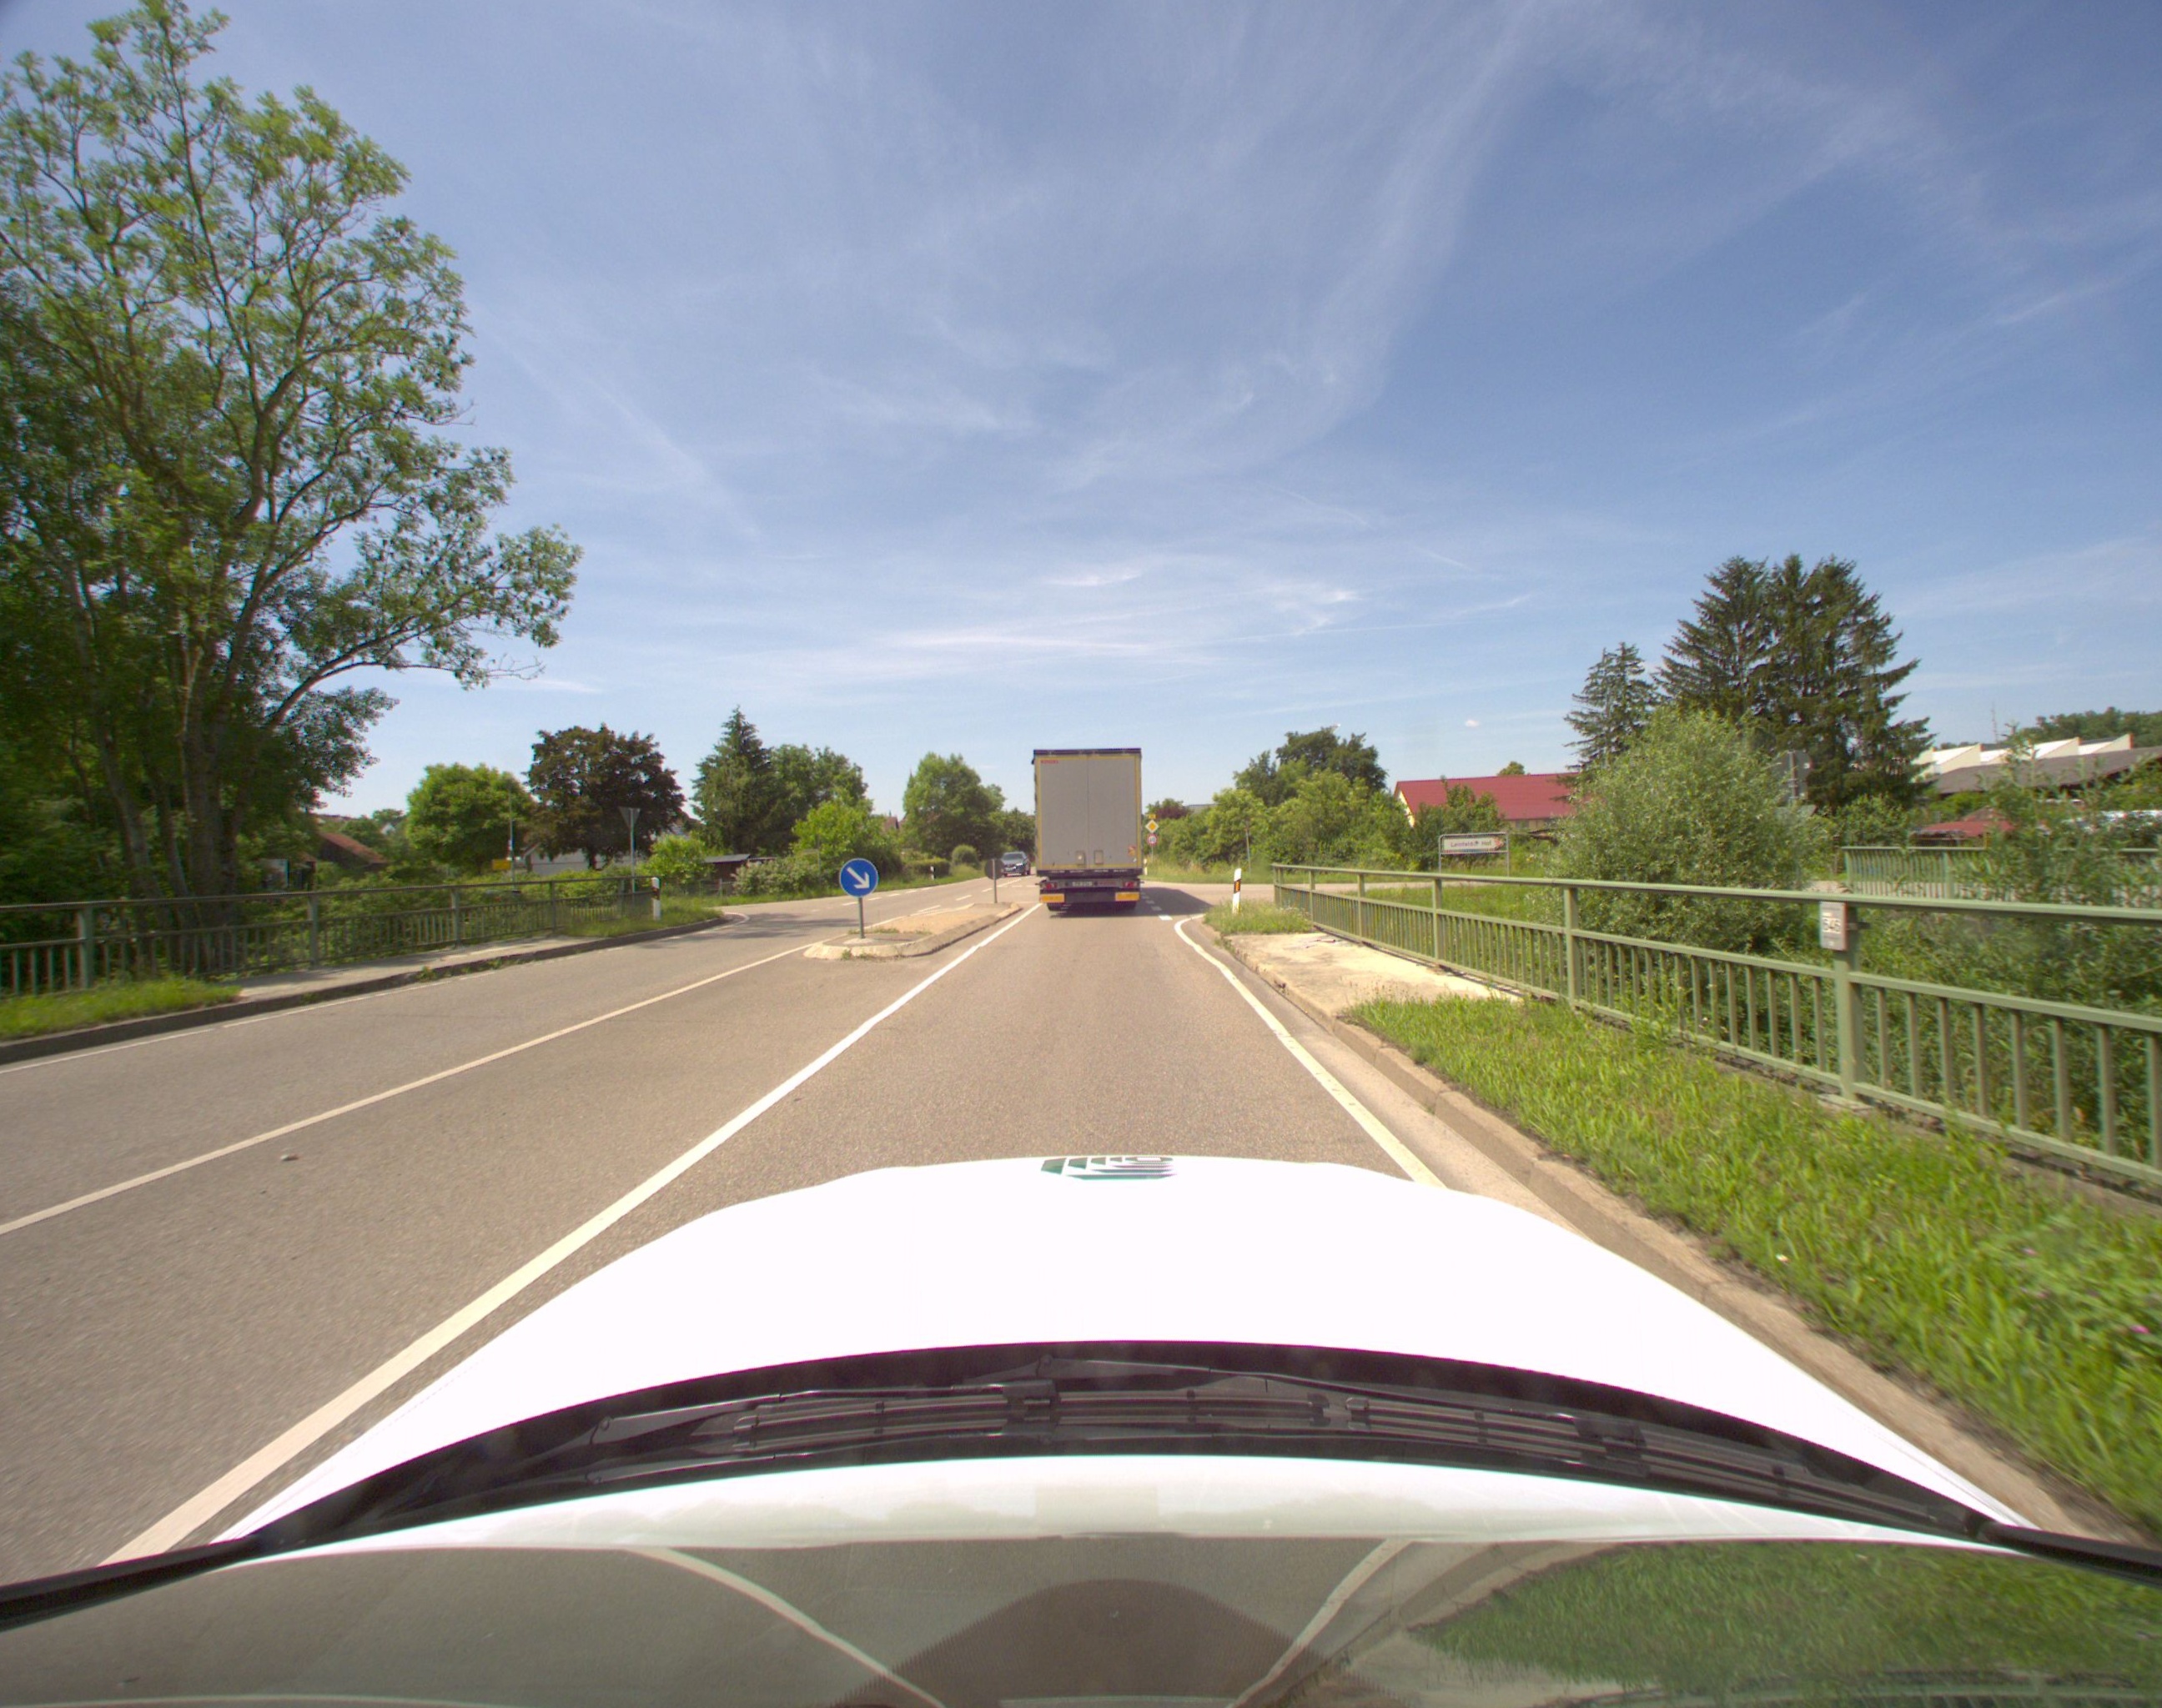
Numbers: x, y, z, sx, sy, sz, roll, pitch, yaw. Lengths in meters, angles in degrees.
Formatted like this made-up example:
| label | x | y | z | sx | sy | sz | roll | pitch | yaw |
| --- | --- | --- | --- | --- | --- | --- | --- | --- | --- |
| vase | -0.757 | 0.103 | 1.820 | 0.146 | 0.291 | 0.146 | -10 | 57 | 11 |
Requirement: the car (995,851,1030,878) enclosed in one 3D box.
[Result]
| label | x | y | z | sx | sy | sz | roll | pitch | yaw |
| --- | --- | --- | --- | --- | --- | --- | --- | --- | --- |
| car | -4.617 | 0.689 | 55.617 | 1.941 | 1.654 | 4.432 | -2 | 0 | 1 |

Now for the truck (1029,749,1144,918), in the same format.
| label | x | y | z | sx | sy | sz | roll | pitch | yaw |
| --- | --- | --- | --- | --- | --- | --- | --- | --- | --- |
| truck | 0.131 | -0.510 | 23.564 | 2.639 | 3.917 | 8.823 | -1 | 0 | 0 |
